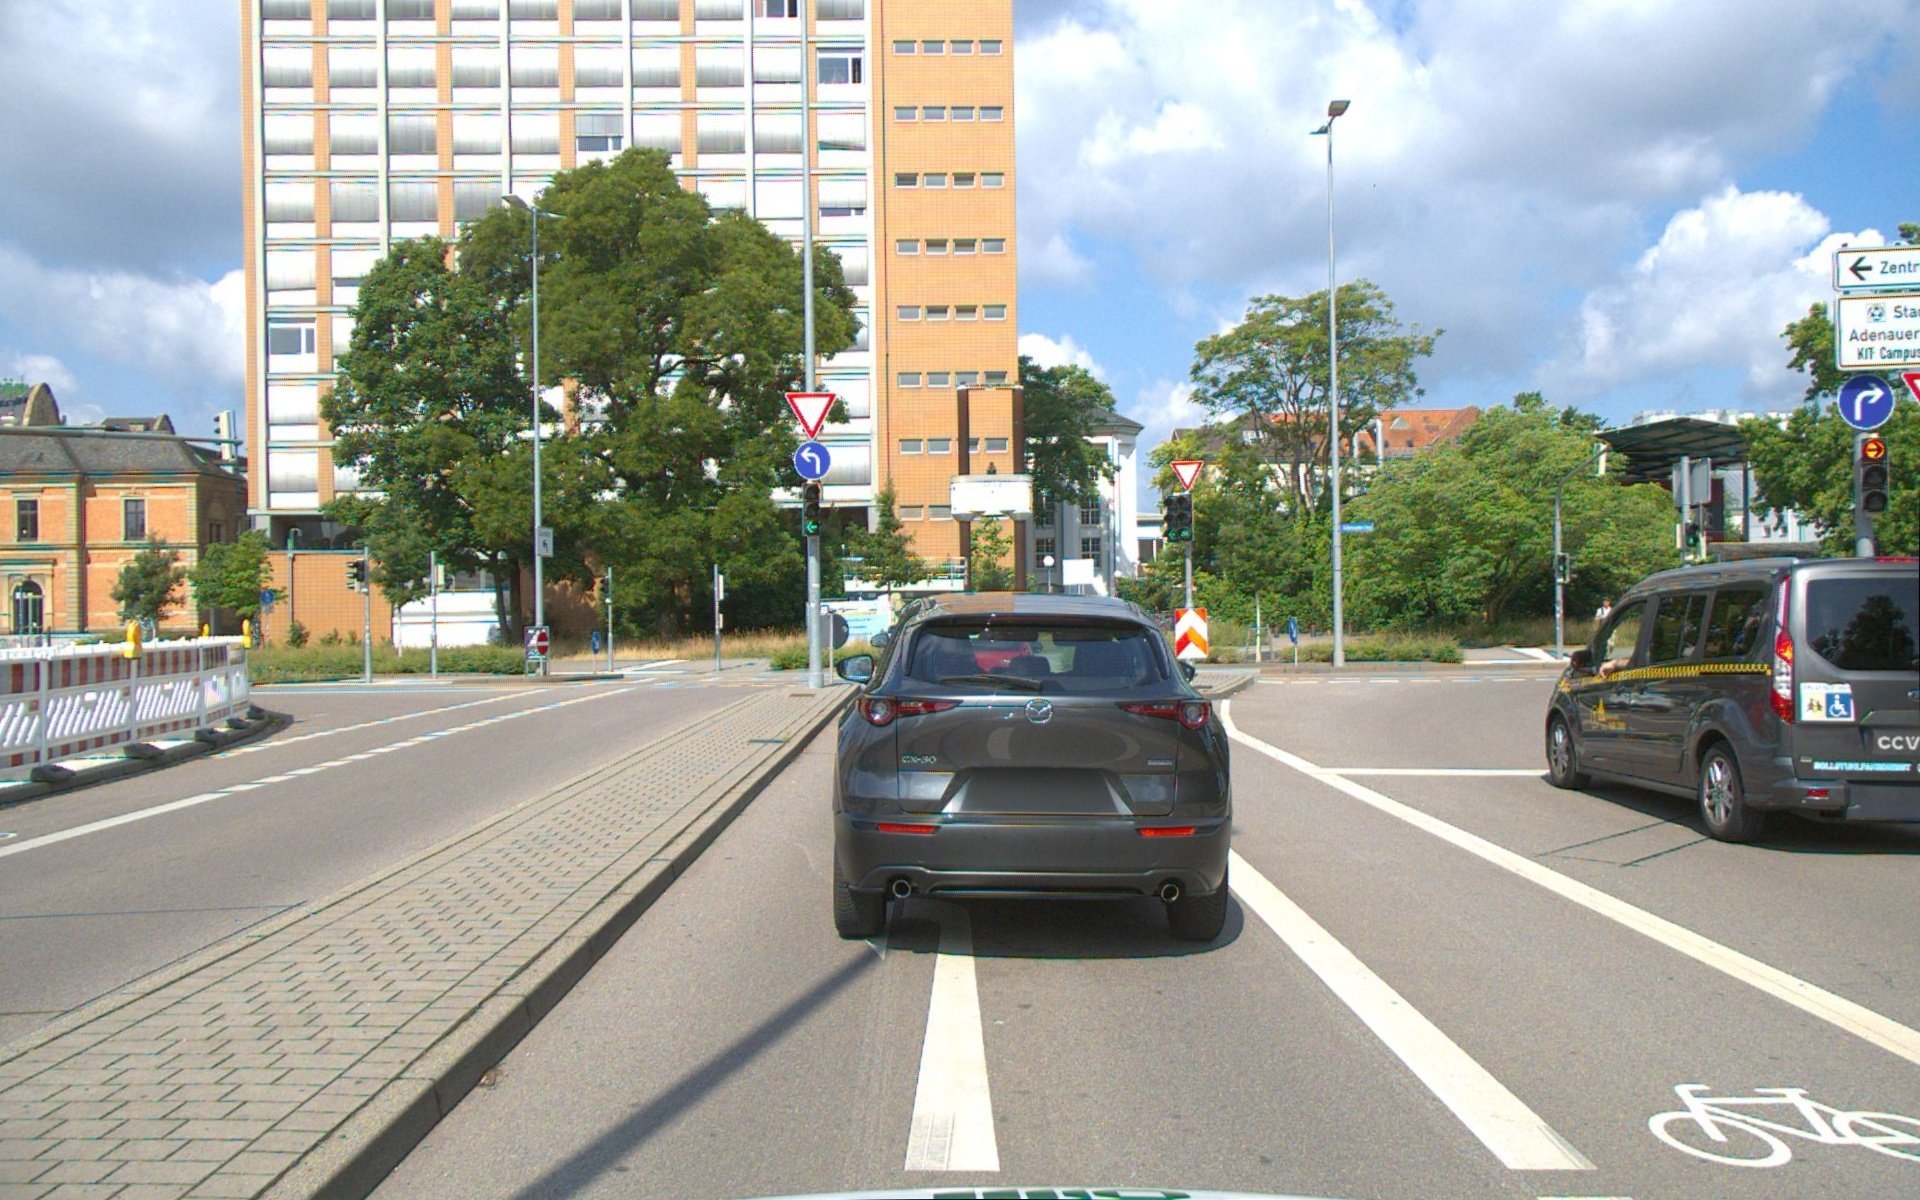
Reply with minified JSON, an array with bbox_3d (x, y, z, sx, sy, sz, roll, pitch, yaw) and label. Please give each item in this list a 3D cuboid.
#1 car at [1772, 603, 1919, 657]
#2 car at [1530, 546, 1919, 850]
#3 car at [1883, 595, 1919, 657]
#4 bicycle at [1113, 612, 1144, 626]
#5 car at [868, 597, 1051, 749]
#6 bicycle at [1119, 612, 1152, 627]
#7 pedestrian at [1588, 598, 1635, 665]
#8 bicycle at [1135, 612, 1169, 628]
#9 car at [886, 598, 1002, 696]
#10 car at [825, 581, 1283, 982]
[{"bbox_3d":[25.553,0.840,46.872,4.061,1.401,2.000,-1,0,1],"label":"car"},{"bbox_3d":[5.861,0.587,12.203,1.810,1.816,4.672,0,0,1],"label":"car"},{"bbox_3d":[25.133,0.582,39.764,4.664,1.467,2.063,-1,-3,4],"label":"car"},{"bbox_3d":[11.567,1.293,113.589,2.013,0.953,0.804,-1,-1,-2],"label":"bicycle"},{"bbox_3d":[0.057,0.730,18.276,1.778,1.465,4.068,1,0,2],"label":"car"},{"bbox_3d":[11.533,1.266,108.730,2.013,0.953,0.804,-1,-1,-2],"label":"bicycle"},{"bbox_3d":[18.544,0.905,47.091,0.684,1.890,1.177,-1,-2,-11],"label":"pedestrian"},{"bbox_3d":[12.085,1.247,103.986,2.013,0.953,0.804,-1,-1,-2],"label":"bicycle"},{"bbox_3d":[-0.241,0.753,28.367,1.810,1.498,4.335,-1,0,0],"label":"car"},{"bbox_3d":[0.338,0.719,8.601,1.769,1.534,4.204,1,0,-1],"label":"car"}]
